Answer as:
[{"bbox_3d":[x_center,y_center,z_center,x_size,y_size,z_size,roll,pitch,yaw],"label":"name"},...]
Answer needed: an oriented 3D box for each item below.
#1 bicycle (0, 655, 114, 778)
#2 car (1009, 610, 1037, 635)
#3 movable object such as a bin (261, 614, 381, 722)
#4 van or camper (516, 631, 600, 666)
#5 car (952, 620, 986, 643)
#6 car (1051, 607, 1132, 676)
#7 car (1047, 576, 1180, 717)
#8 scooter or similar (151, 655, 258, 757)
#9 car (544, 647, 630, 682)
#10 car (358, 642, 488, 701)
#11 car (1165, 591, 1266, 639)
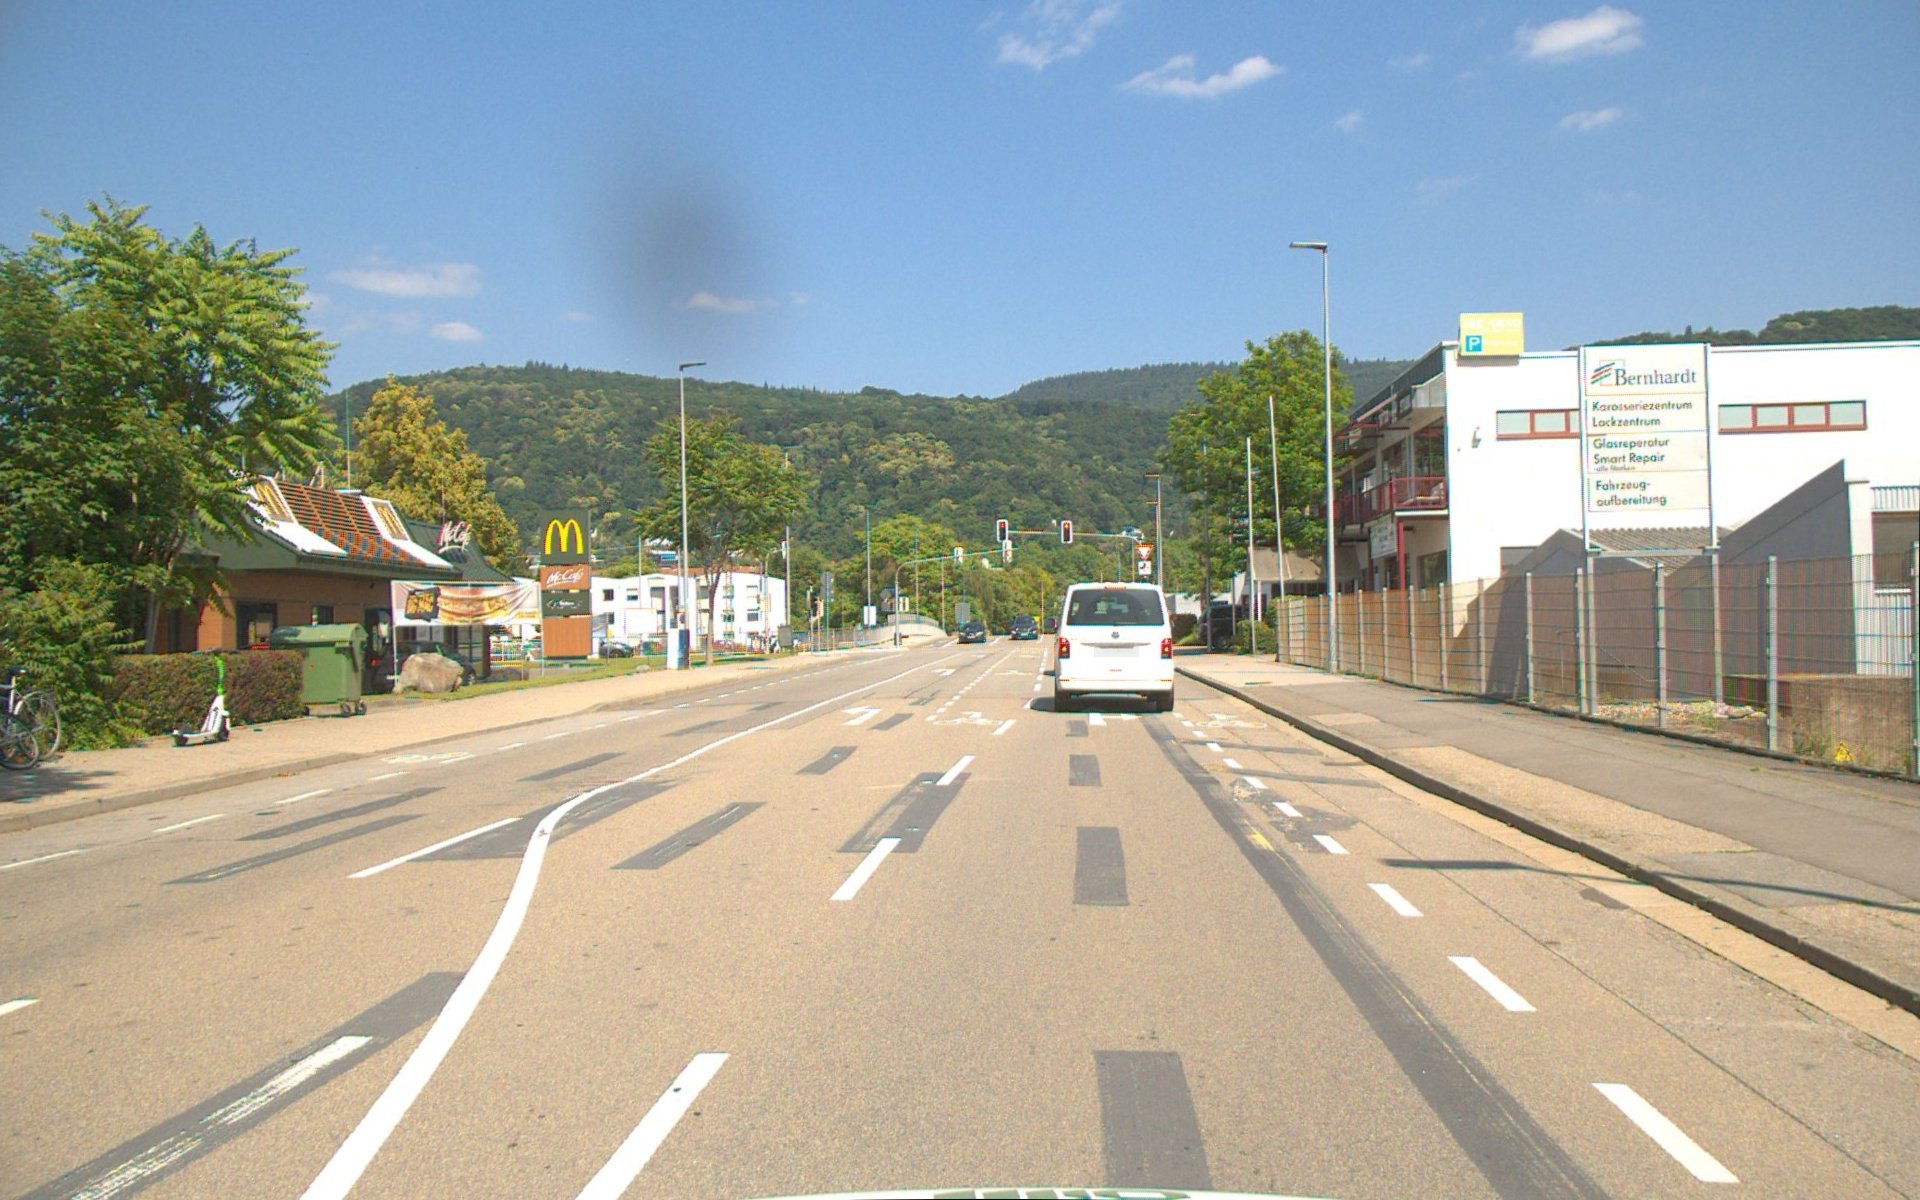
[{"bbox_3d":[-9.926,1.183,16.818,1.005,1.137,2.767,1,0,5],"label":"bicycle"},{"bbox_3d":[4.433,1.571,116.669,1.811,1.616,4.002,-2,0,4],"label":"car"},{"bbox_3d":[-10.145,1.058,26.326,1.420,1.618,1.306,-2,0,-5],"label":"movable object such as a bin"},{"bbox_3d":[-19.612,2.381,80.774,3.920,1.601,1.992,1,0,-15],"label":"van or camper"},{"bbox_3d":[0.644,2.140,112.596,1.952,1.394,4.329,-2,0,4],"label":"car"},{"bbox_3d":[3.398,1.042,43.398,1.894,1.716,4.545,0,0,2],"label":"car"},{"bbox_3d":[2.430,0.700,27.198,1.894,2.096,4.545,1,0,2],"label":"car"},{"bbox_3d":[-9.384,1.298,20.603,0.634,1.147,1.622,2,0,-3],"label":"scooter or similar"},{"bbox_3d":[-19.410,3.342,86.145,4.237,1.620,1.995,-2,0,-11],"label":"car"},{"bbox_3d":[-14.916,1.957,46.161,1.951,1.441,4.132,1,0,5],"label":"car"},{"bbox_3d":[10.344,0.594,66.890,3.902,1.806,2.002,-2,0,9],"label":"car"}]
